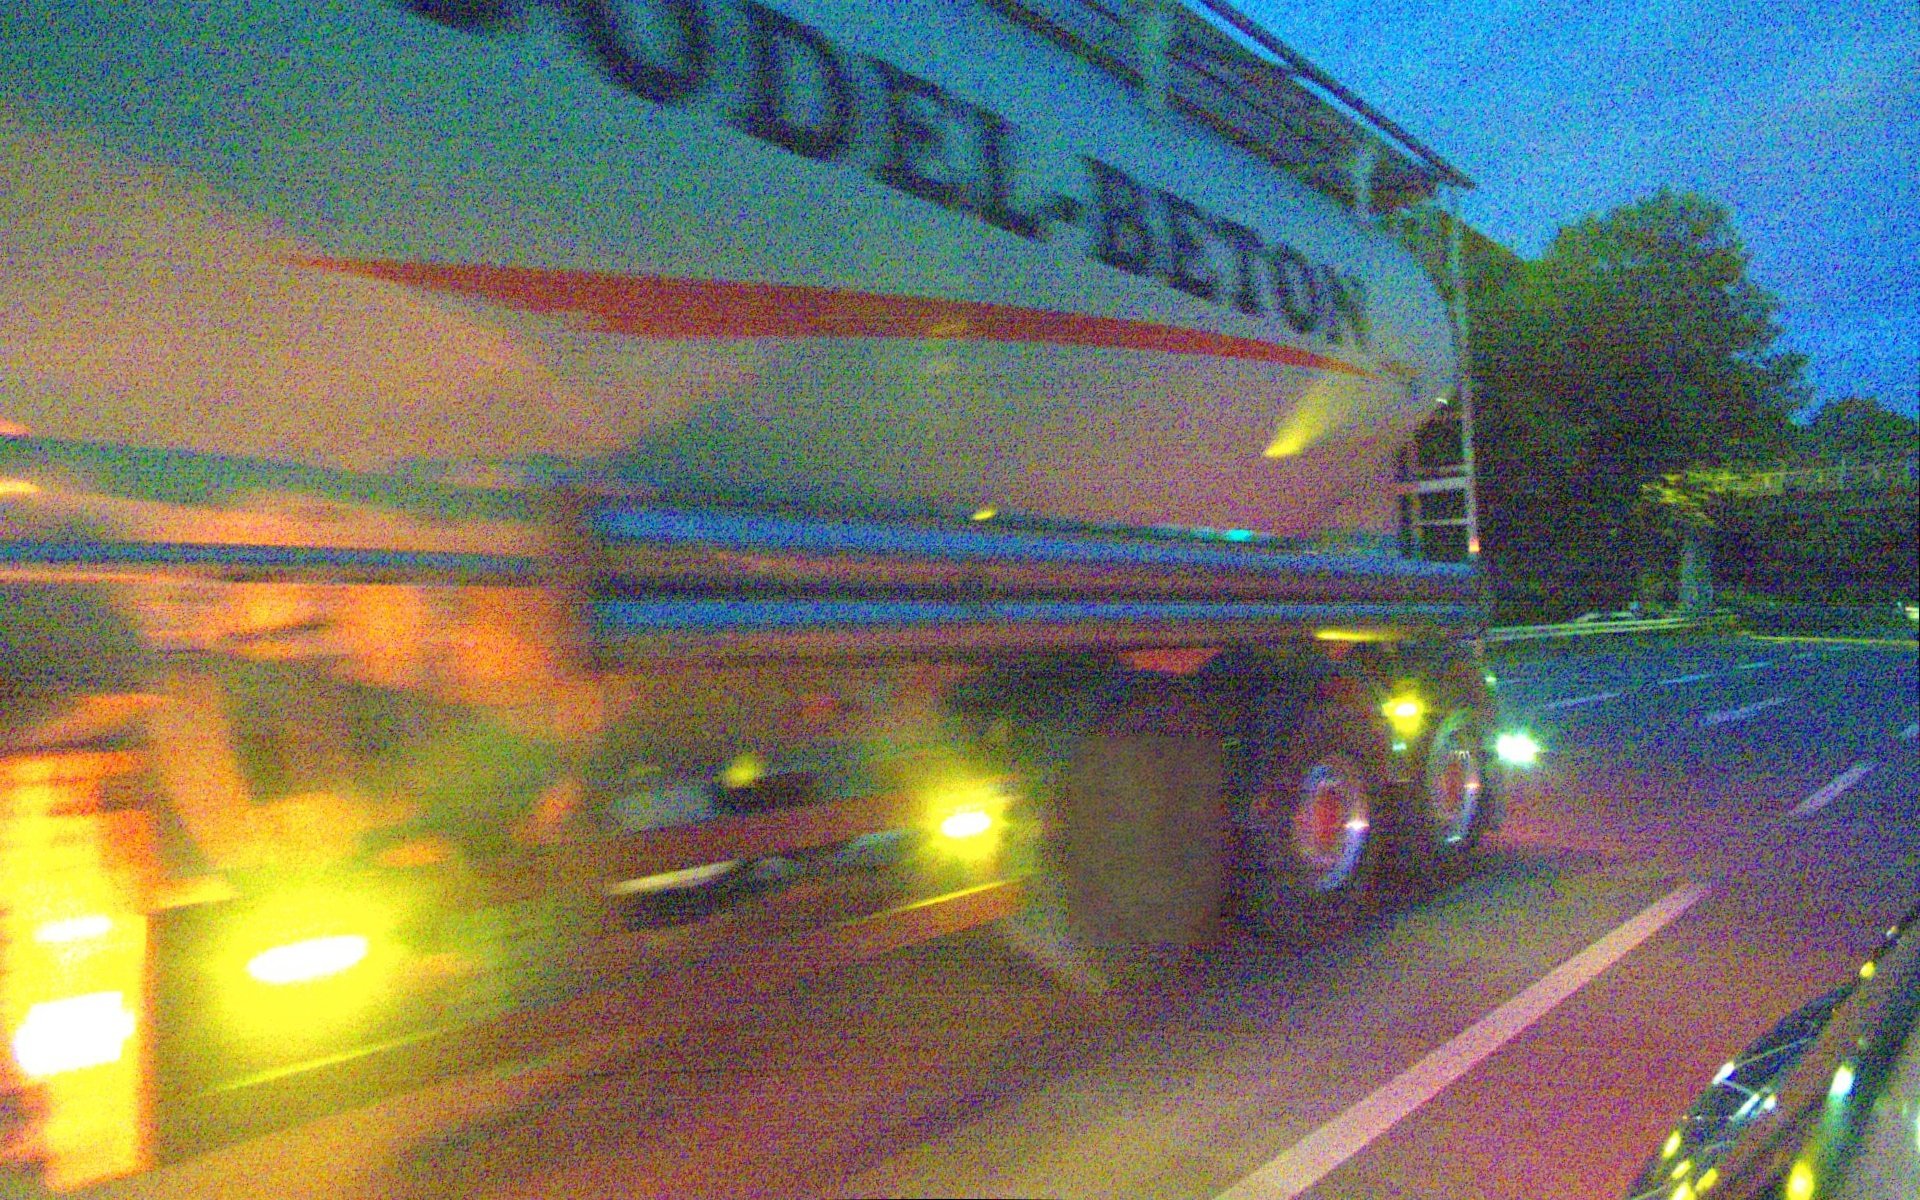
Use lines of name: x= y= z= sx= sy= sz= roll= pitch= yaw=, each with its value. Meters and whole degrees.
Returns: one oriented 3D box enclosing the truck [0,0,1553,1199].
truck: x=-2.298 y=-0.704 z=2.570 sx=12.913 sy=4.158 sz=2.692 roll=-1 pitch=1 yaw=-41
